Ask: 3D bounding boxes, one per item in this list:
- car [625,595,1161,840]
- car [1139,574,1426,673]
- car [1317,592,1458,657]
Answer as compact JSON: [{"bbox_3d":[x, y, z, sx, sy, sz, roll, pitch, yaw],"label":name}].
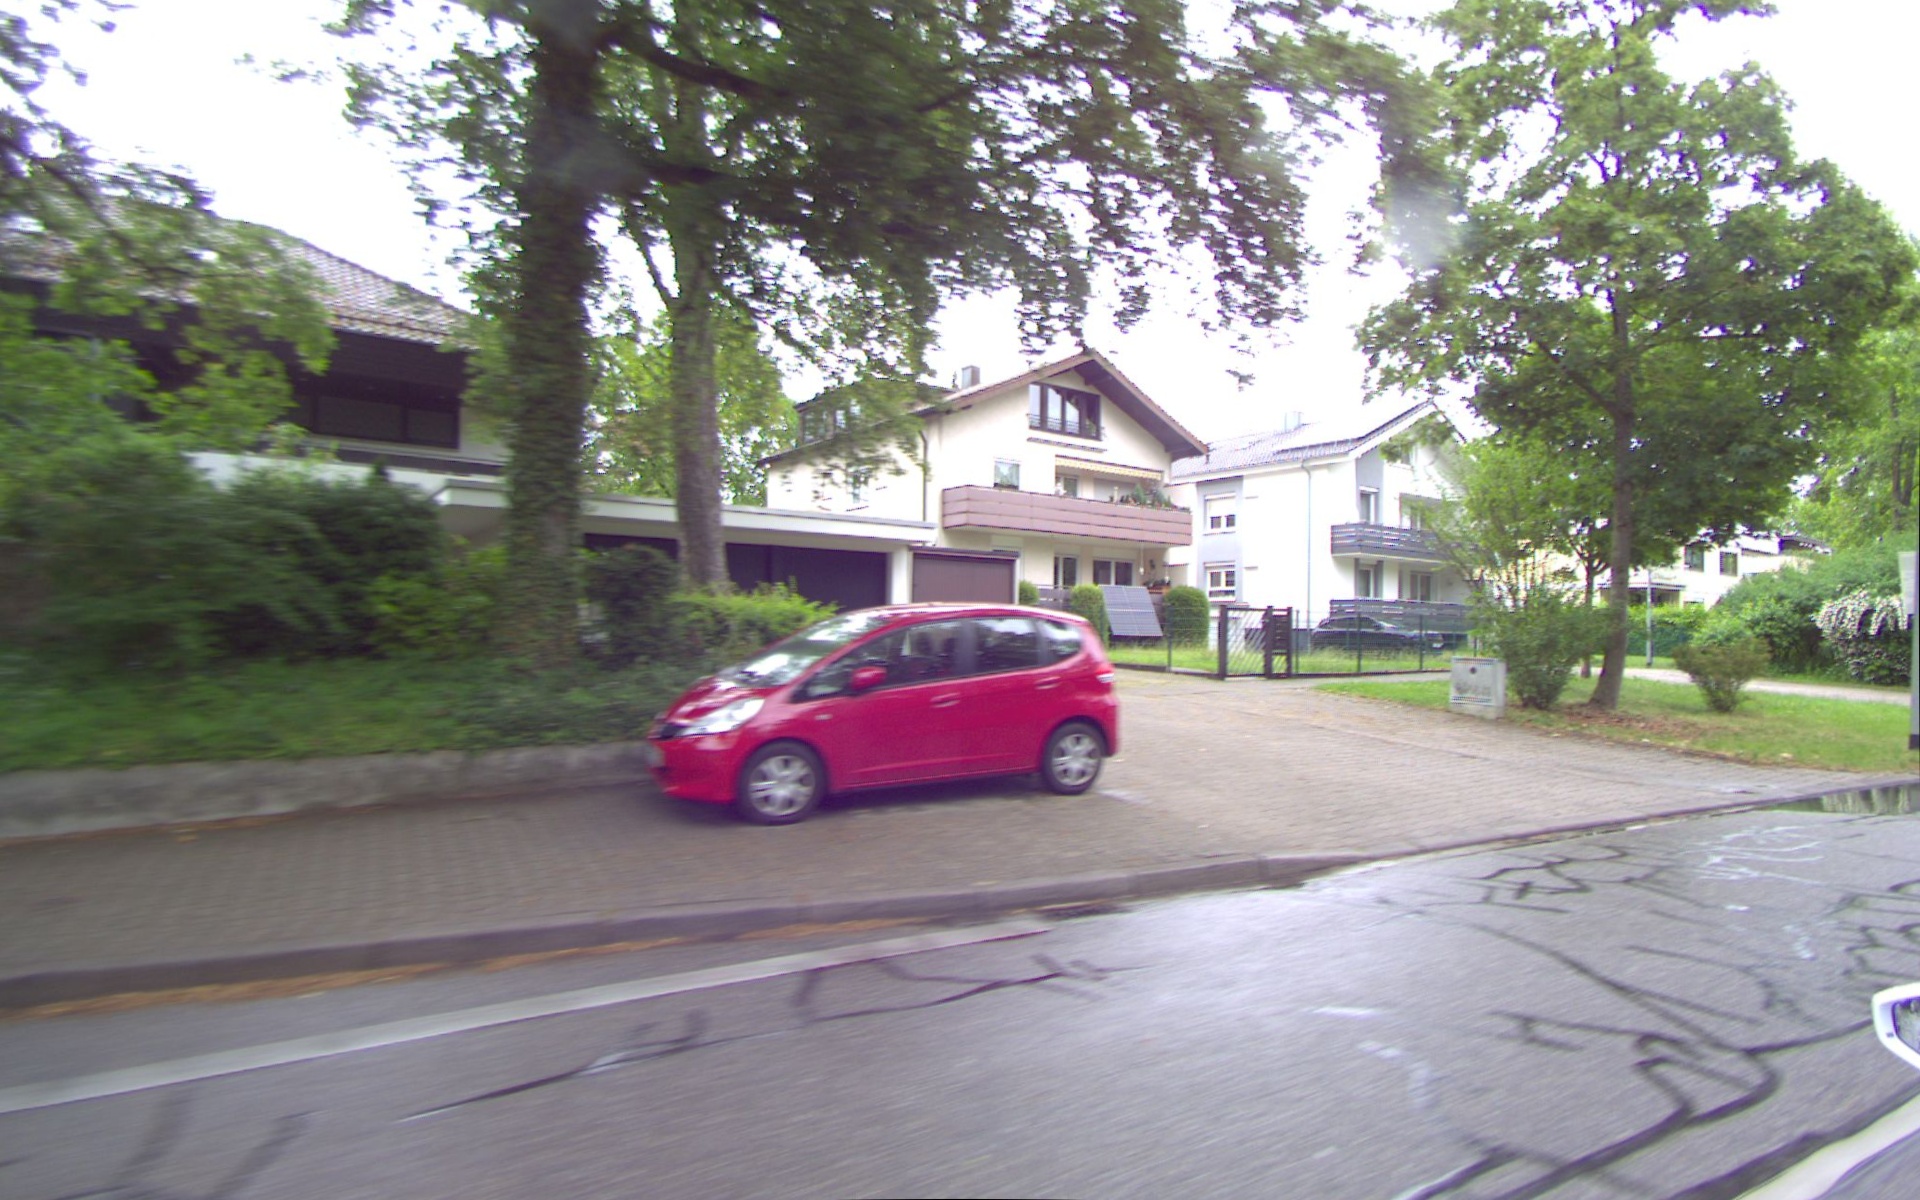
[{"bbox_3d":[-0.549,0.789,8.287,3.949,1.536,1.985,1,1,-28],"label":"car"},{"bbox_3d":[7.584,0.453,24.285,3.441,2.065,5.711,1,1,-32],"label":"car"},{"bbox_3d":[14.336,0.852,33.836,1.980,2.040,3.962,2,-2,-34],"label":"car"}]
